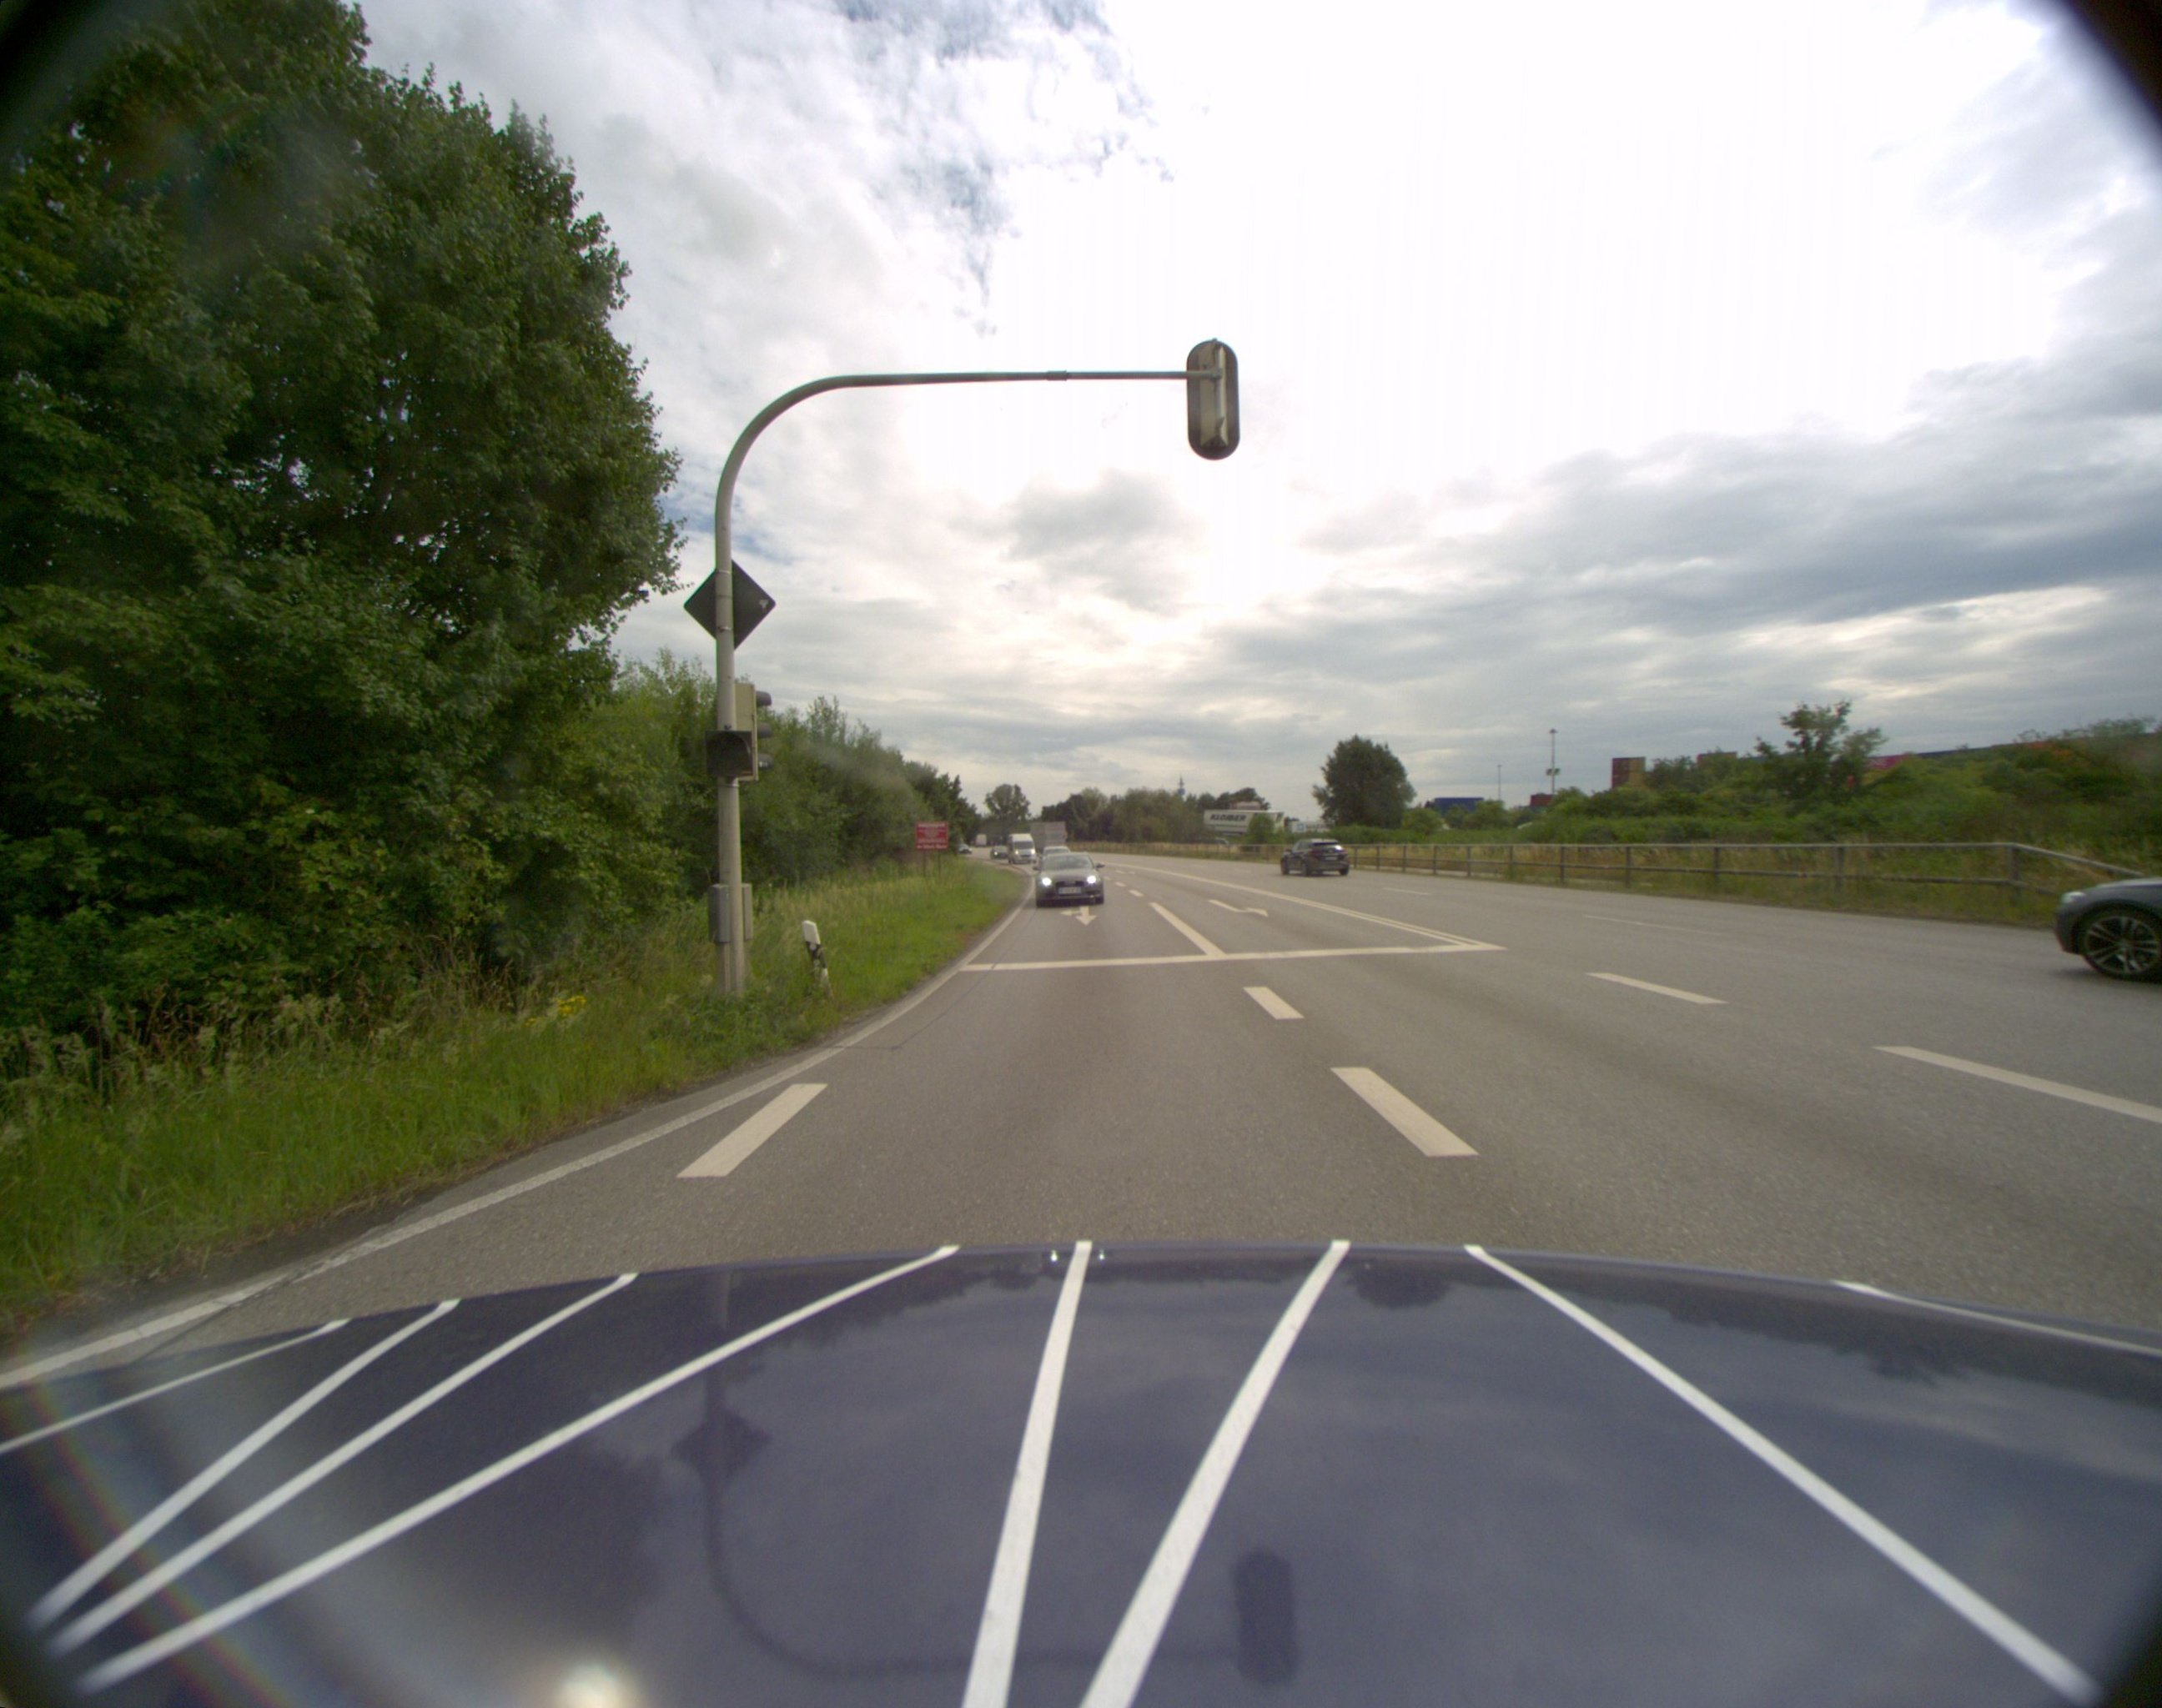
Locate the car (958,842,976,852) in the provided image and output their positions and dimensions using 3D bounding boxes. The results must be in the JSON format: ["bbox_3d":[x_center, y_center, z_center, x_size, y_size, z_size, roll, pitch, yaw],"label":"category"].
[{"bbox_3d":[-16.769,-1.025,111.490,1.733,1.357,3.992,-1,1,-21],"label":"car"}]

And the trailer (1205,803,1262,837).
[{"bbox_3d":[24.020,-5.334,120.205,2.812,4.969,8.958,-5,3,-40],"label":"trailer"}]

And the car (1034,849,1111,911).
[{"bbox_3d":[-0.351,0.663,22.105,1.958,1.527,3.998,-3,1,-4],"label":"car"}]

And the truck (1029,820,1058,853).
[{"bbox_3d":[-4.722,-2.180,95.949,2.550,4.073,3.993,-2,2,-19],"label":"truck"}]

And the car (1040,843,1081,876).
[{"bbox_3d":[-1.230,0.280,42.932,2.021,1.604,4.277,-3,2,-5],"label":"car"}]

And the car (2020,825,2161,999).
[{"bbox_3d":[10.307,0.524,5.213,1.792,1.521,4.903,-1,1,3],"label":"car"}]

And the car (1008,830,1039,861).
[{"bbox_3d":[-5.293,-0.796,69.427,2.220,2.655,5.234,-4,2,-9],"label":"car"}]

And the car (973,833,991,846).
[{"bbox_3d":[-20.629,-3.030,158.725,2.443,2.659,6.876,-3,2,-18],"label":"car"}]

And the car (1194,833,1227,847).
[{"bbox_3d":[18.565,-2.005,108.522,4.539,1.865,2.001,-2,2,11],"label":"car"}]

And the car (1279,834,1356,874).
[{"bbox_3d":[9.963,-0.020,32.306,1.796,1.564,3.998,-1,1,-4],"label":"car"}]

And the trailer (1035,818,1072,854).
[{"bbox_3d":[-3.392,-2.138,92.092,2.537,4.078,6.723,-2,1,-19],"label":"trailer"}]

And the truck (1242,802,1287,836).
[{"bbox_3d":[27.875,-5.297,115.567,2.809,4.969,6.172,-5,3,-40],"label":"truck"}]

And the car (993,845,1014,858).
[{"bbox_3d":[-8.661,-0.335,85.057,1.733,1.357,3.994,-1,1,-14],"label":"car"}]
